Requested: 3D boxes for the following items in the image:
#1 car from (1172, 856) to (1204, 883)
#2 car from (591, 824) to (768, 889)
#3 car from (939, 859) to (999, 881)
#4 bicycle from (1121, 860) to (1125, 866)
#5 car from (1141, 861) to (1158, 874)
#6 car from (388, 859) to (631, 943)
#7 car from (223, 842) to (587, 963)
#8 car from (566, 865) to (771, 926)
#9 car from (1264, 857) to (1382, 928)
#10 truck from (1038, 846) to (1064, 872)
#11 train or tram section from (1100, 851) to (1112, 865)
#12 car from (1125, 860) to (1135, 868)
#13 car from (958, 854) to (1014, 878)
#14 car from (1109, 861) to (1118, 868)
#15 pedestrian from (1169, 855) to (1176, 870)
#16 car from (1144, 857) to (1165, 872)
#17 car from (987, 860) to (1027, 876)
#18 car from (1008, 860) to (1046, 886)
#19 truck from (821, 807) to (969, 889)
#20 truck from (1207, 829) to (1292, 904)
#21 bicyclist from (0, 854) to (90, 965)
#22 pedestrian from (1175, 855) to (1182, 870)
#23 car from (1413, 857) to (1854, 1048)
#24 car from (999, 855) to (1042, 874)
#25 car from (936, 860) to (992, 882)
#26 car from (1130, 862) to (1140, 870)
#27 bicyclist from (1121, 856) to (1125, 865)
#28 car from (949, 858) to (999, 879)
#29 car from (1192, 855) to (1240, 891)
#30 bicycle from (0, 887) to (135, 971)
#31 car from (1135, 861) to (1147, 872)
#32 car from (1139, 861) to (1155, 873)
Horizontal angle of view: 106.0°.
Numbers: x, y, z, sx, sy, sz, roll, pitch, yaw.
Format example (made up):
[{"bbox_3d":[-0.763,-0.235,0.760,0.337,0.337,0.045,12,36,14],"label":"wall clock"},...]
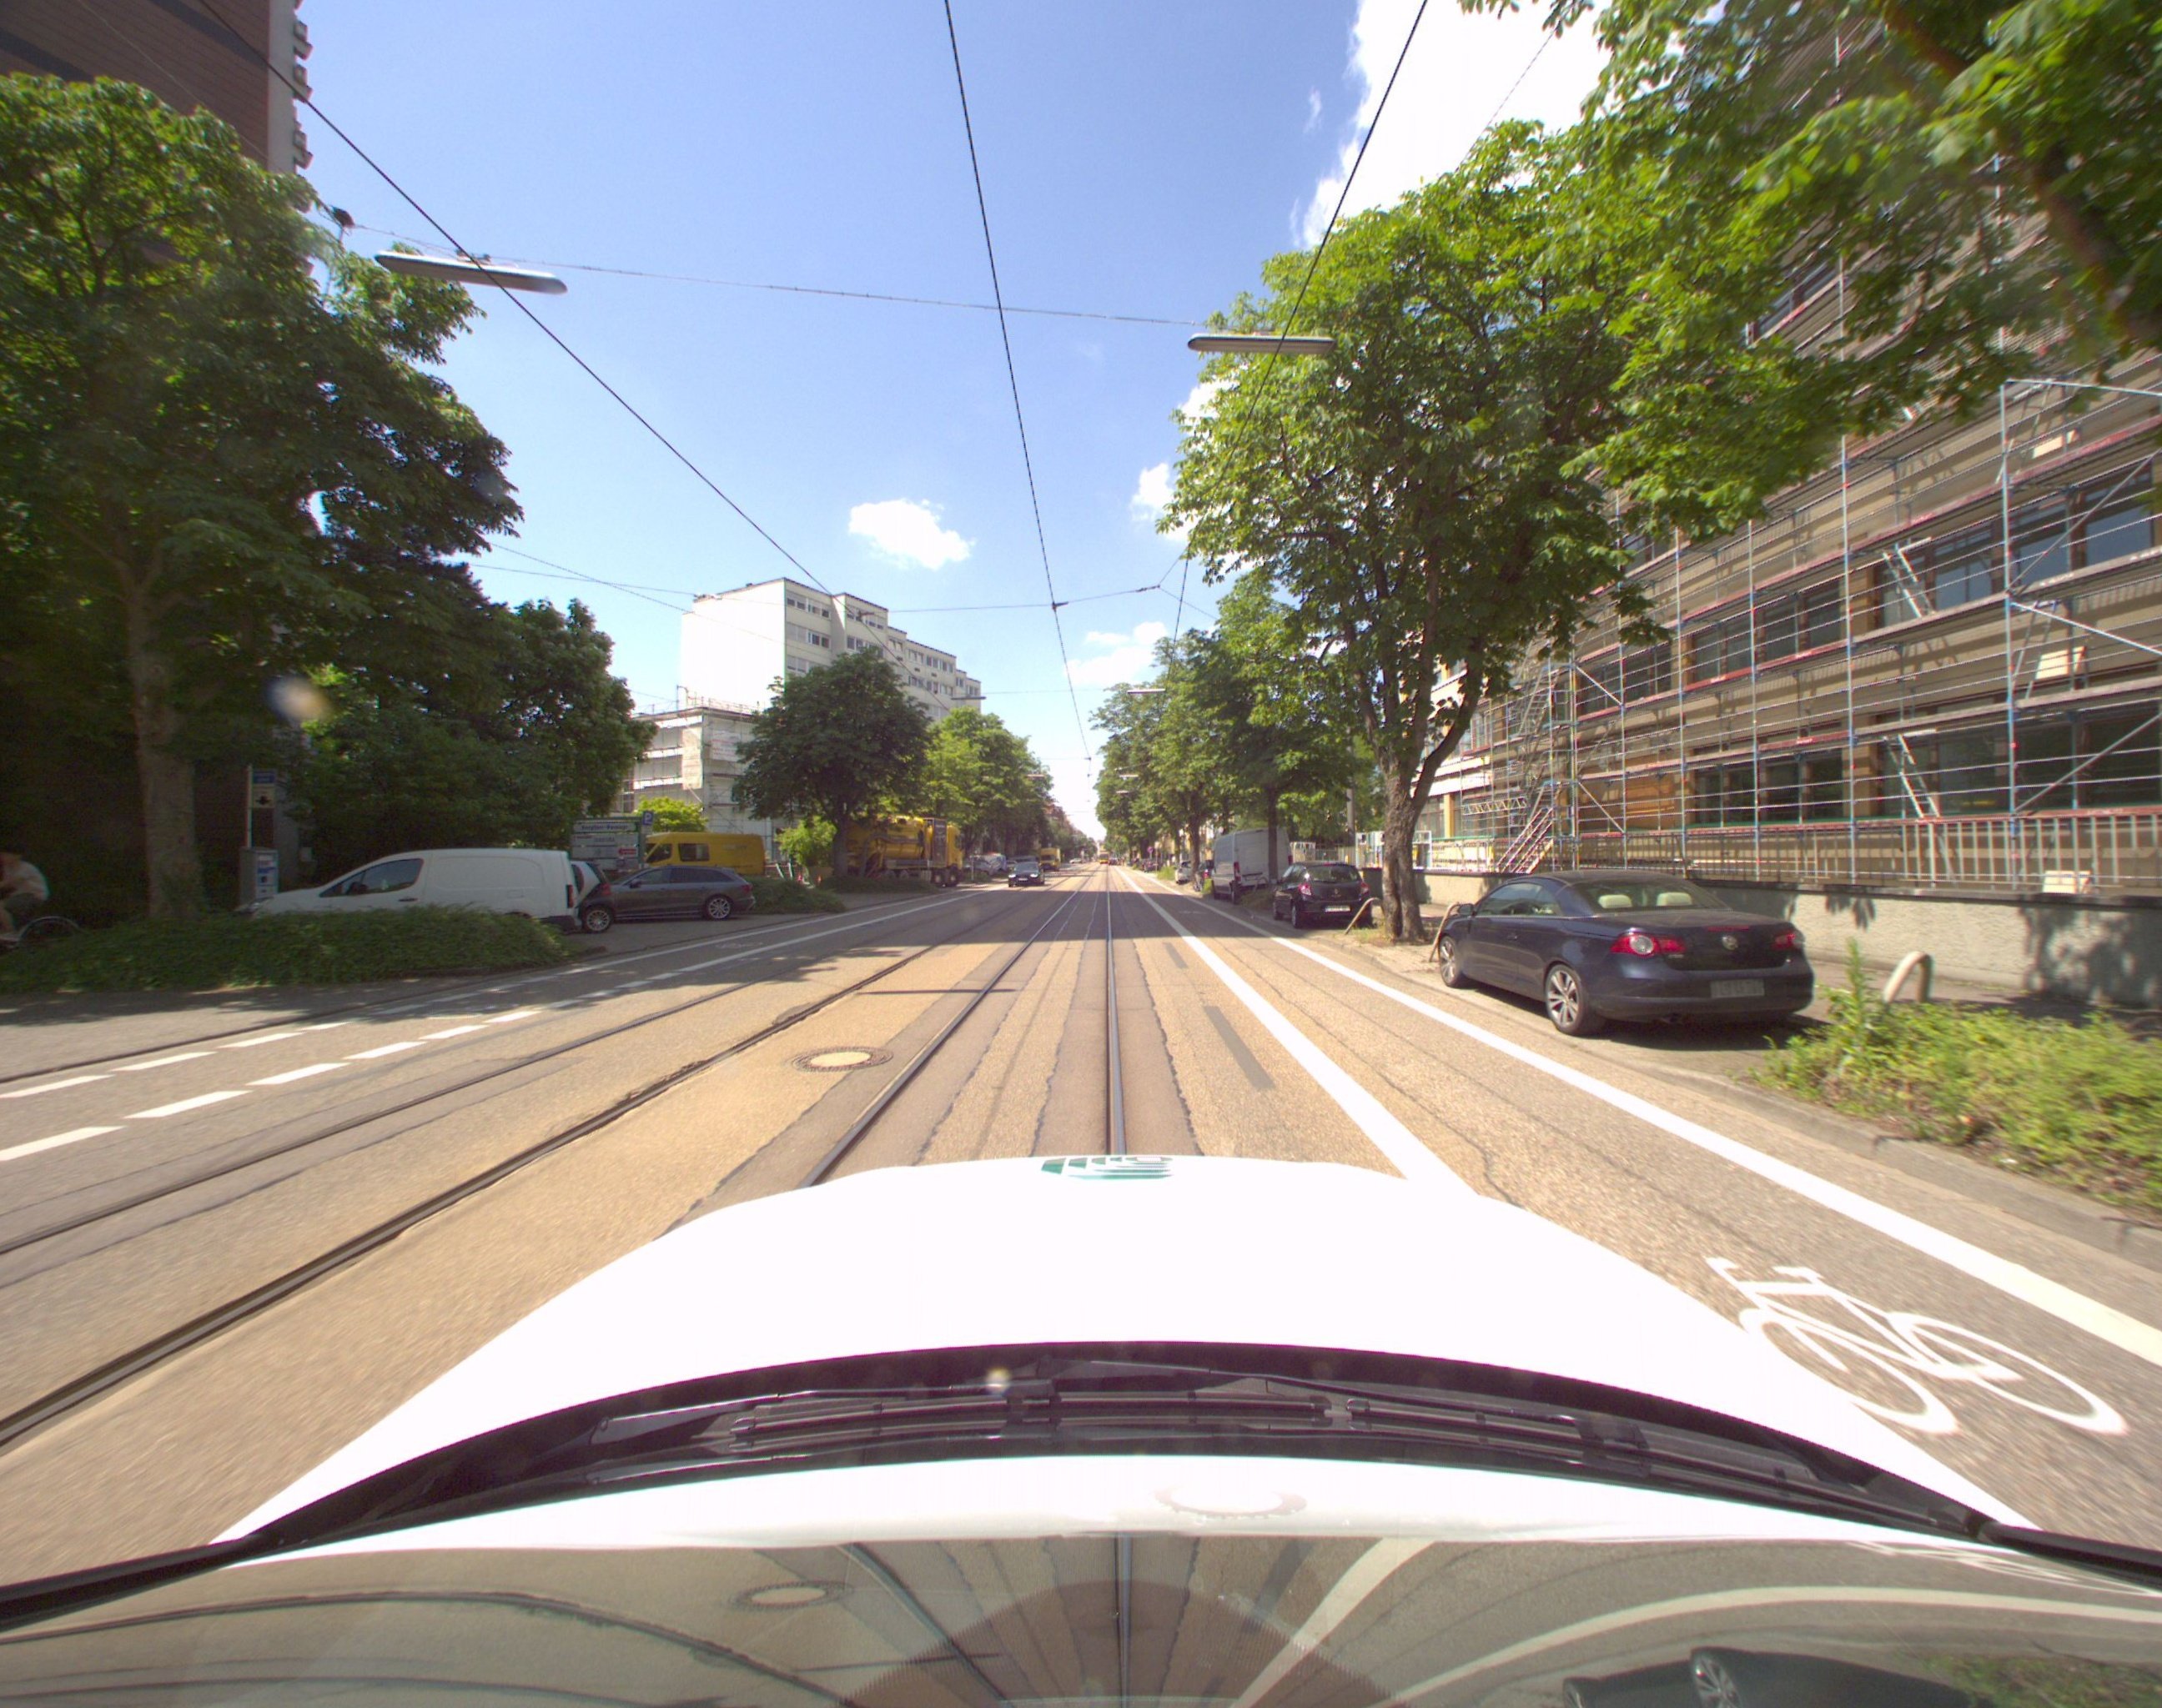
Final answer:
[{"bbox_3d":[6.522,0.927,49.824,1.637,1.534,3.788,-1,0,3],"label":"car"},{"bbox_3d":[-17.185,0.192,35.407,2.157,2.566,6.766,-1,-2,32],"label":"car"},{"bbox_3d":[-8.650,1.247,63.232,4.225,1.507,1.852,-2,-1,-40],"label":"car"},{"bbox_3d":[7.452,1.572,145.481,0.636,0.969,1.781,1,-2,1],"label":"bicycle"},{"bbox_3d":[8.055,1.536,95.994,1.869,1.455,4.530,-2,-1,2],"label":"car"},{"bbox_3d":[-11.768,0.880,16.919,3.971,1.532,1.752,1,0,-40],"label":"car"},{"bbox_3d":[-11.227,0.732,14.060,4.563,1.791,1.882,1,0,-31],"label":"car"},{"bbox_3d":[-10.515,0.984,20.928,4.467,1.394,1.753,1,0,-37],"label":"car"},{"bbox_3d":[5.665,0.838,19.584,1.816,1.471,4.405,-1,0,4],"label":"car"},{"bbox_3d":[-3.585,0.593,97.864,2.350,2.852,7.384,-2,0,3],"label":"truck"},{"bbox_3d":[6.682,1.080,218.911,3.023,3.438,11.977,-1,0,3],"label":"train or tram section"},{"bbox_3d":[9.732,1.969,162.107,1.704,1.423,4.310,-2,-1,1],"label":"car"},{"bbox_3d":[-8.519,1.100,73.074,1.898,1.935,4.785,-3,-1,44],"label":"car"},{"bbox_3d":[6.850,2.210,169.910,1.774,1.346,3.417,-1,0,2],"label":"car"},{"bbox_3d":[11.017,1.038,98.167,0.718,1.860,0.579,-2,-1,20],"label":"pedestrian"},{"bbox_3d":[7.506,1.081,83.417,1.634,1.485,3.870,-2,-1,-1],"label":"car"},{"bbox_3d":[-7.873,1.457,86.450,1.740,1.433,4.024,-5,-1,44],"label":"car"},{"bbox_3d":[-3.092,1.087,47.245,1.767,1.397,4.289,-1,0,2],"label":"car"},{"bbox_3d":[-9.465,-0.208,43.447,2.695,3.842,11.009,0,-1,16],"label":"truck"},{"bbox_3d":[6.057,0.418,30.078,2.007,2.489,5.957,-1,0,1],"label":"truck"},{"bbox_3d":[-14.493,0.740,11.308,0.479,1.481,0.780,0,0,0],"label":"bicyclist"},{"bbox_3d":[11.688,1.025,97.598,0.613,1.737,0.481,-3,-1,27],"label":"pedestrian"},{"bbox_3d":[5.246,0.785,8.646,1.817,1.471,4.490,-1,0,3],"label":"car"},{"bbox_3d":[-7.327,1.292,99.198,4.785,2.062,2.003,-2,-1,-37],"label":"car"},{"bbox_3d":[-8.601,1.238,59.882,1.740,1.507,3.731,-3,-1,44],"label":"car"},{"bbox_3d":[9.513,2.073,143.752,1.704,1.423,4.310,-2,-1,1],"label":"car"},{"bbox_3d":[7.441,1.134,145.468,0.620,1.616,0.864,0,-2,0],"label":"bicyclist"},{"bbox_3d":[-8.718,1.155,66.341,3.731,1.544,1.671,-2,-1,-44],"label":"car"},{"bbox_3d":[6.196,0.849,37.786,1.638,1.534,3.948,-1,0,1],"label":"car"},{"bbox_3d":[-14.499,1.019,11.313,0.516,1.047,1.876,0,0,0],"label":"bicycle"},{"bbox_3d":[9.184,1.885,124.521,1.586,1.617,3.908,-2,-1,1],"label":"car"},{"bbox_3d":[8.311,1.659,102.522,1.704,1.423,4.244,-2,-1,1],"label":"car"}]
